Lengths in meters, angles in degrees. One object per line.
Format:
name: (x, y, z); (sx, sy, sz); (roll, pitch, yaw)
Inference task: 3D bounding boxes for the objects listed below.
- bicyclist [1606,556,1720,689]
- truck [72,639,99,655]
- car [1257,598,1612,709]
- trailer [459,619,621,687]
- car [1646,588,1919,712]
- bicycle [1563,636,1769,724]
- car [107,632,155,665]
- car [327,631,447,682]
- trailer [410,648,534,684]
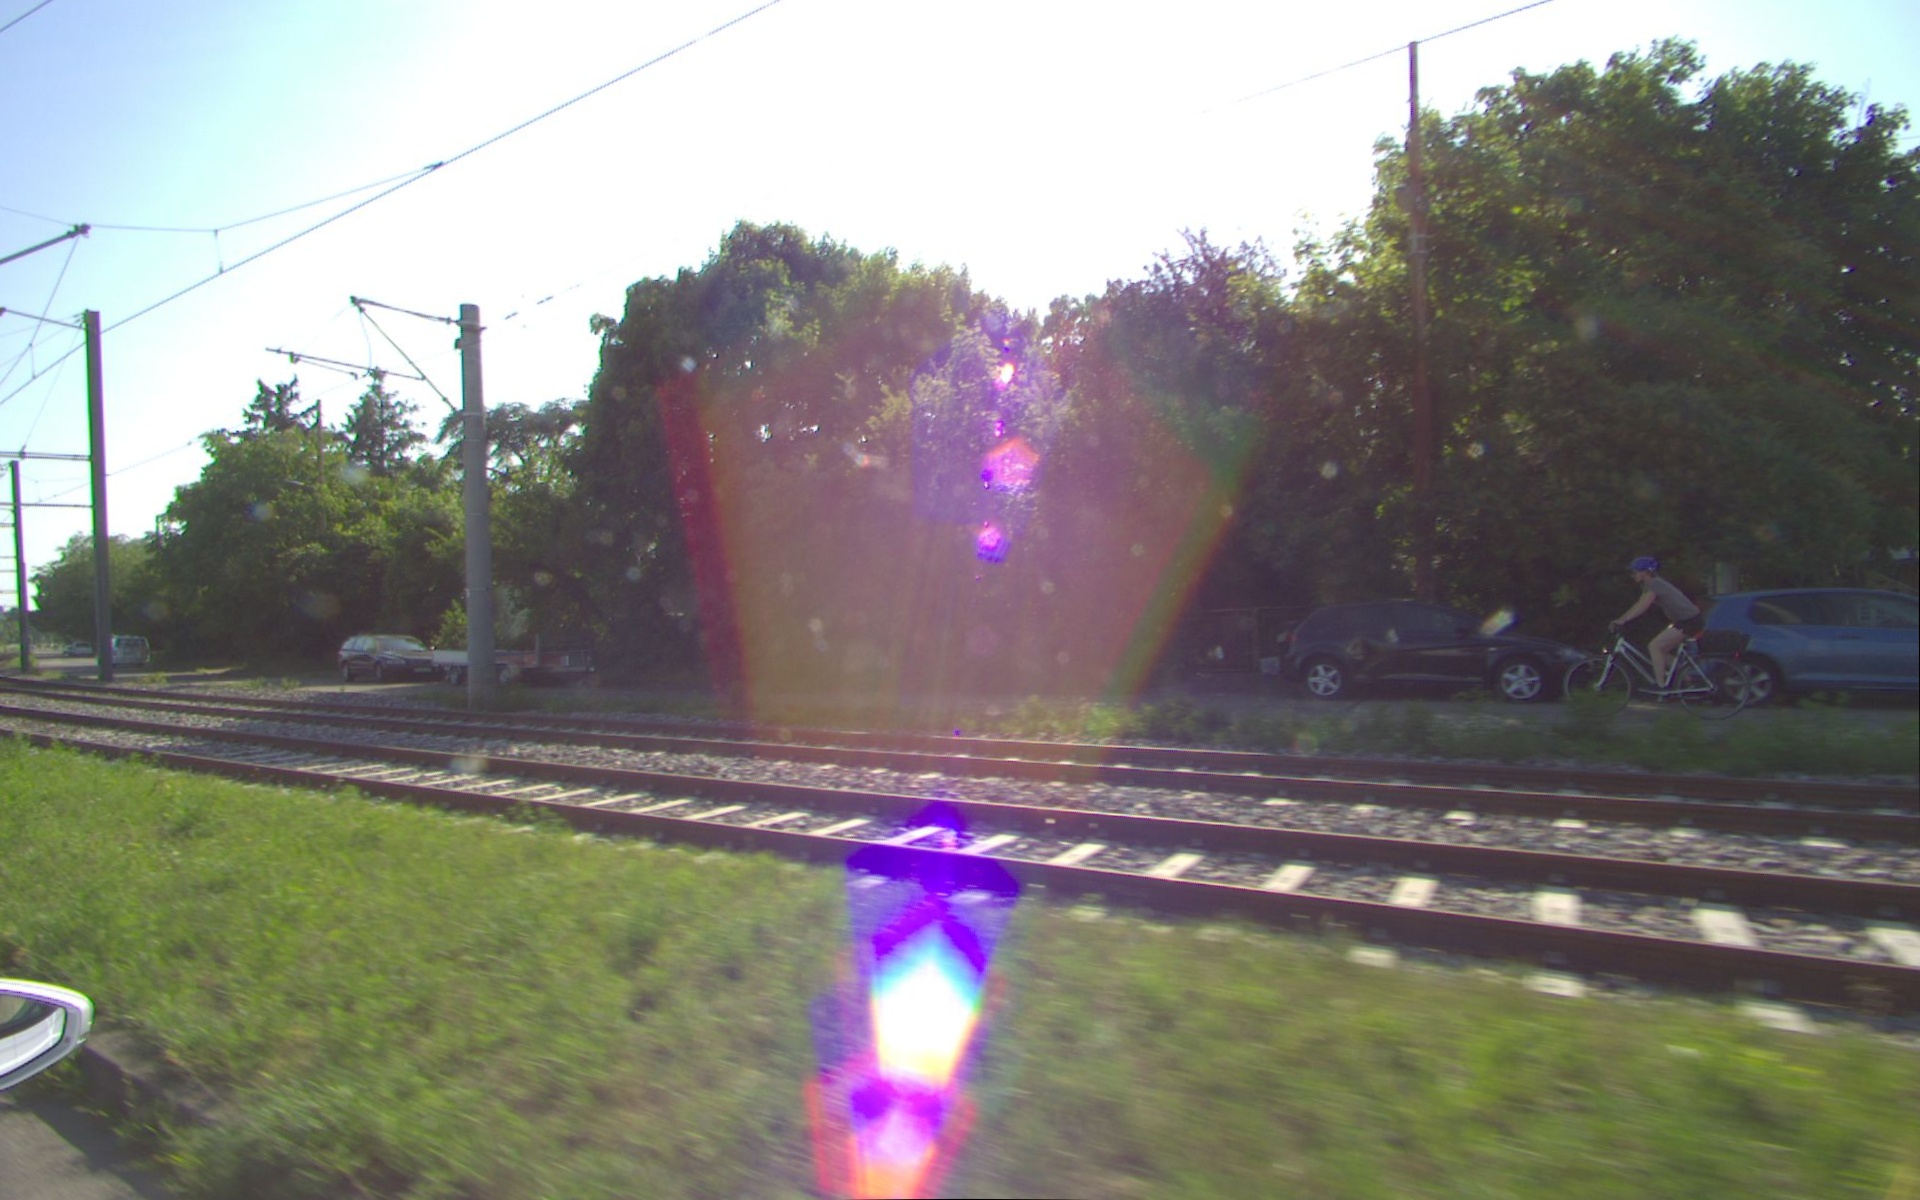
bicyclist: (7.934, 0.255, 11.341); (0.947, 1.440, 0.629); (-1, 0, 28)
truck: (-103.850, 5.598, 118.928); (2.189, 1.842, 5.874); (-1, -1, -43)
car: (6.792, 0.774, 14.651); (4.453, 1.428, 1.621); (-2, -2, 29)
trailer: (-10.824, 1.356, 25.738); (4.206, 1.616, 2.020); (-2, -3, 37)
car: (10.994, 0.582, 12.256); (4.084, 1.419, 1.484); (-2, 0, 27)
bicycle: (7.929, 0.886, 11.350); (1.815, 0.921, 0.642); (-2, -1, 28)
car: (-53.061, 3.126, 64.036); (1.981, 2.029, 5.019); (2, -4, -44)
car: (-17.837, 1.733, 31.089); (4.824, 1.475, 1.691); (-2, -3, 40)
trailer: (-13.843, 1.837, 28.355); (3.682, 0.951, 1.726); (-2, -4, 38)
